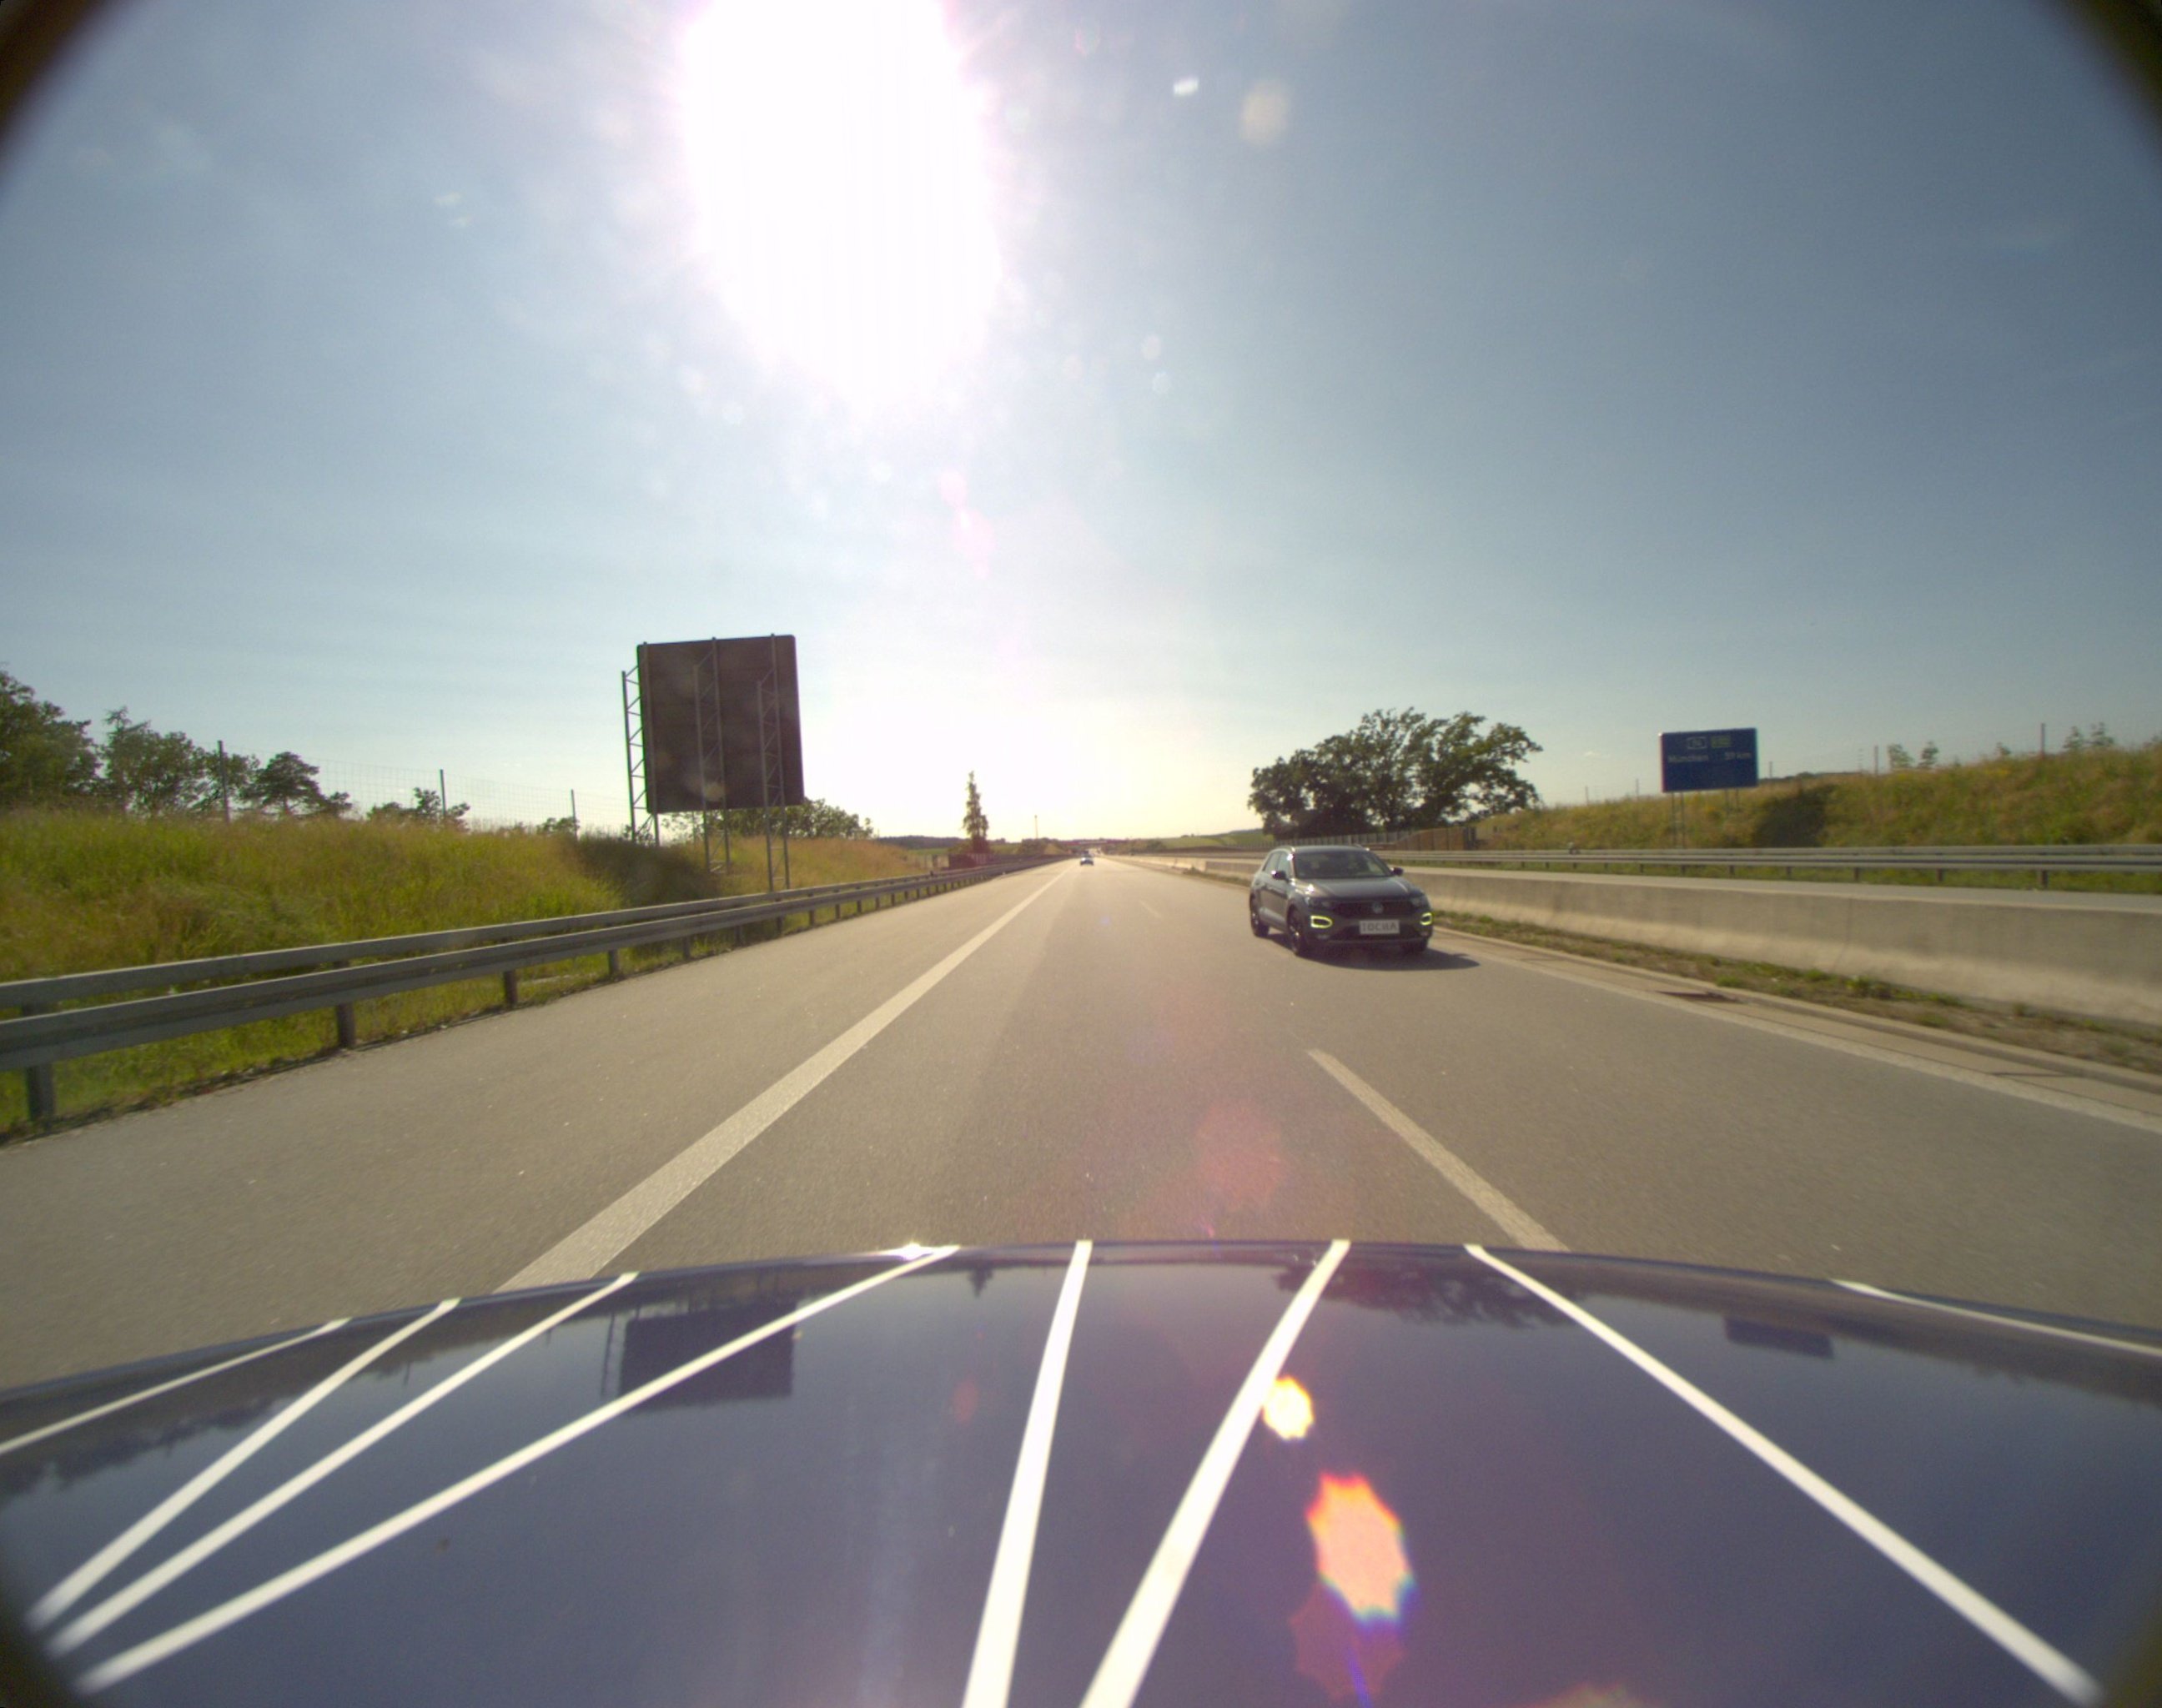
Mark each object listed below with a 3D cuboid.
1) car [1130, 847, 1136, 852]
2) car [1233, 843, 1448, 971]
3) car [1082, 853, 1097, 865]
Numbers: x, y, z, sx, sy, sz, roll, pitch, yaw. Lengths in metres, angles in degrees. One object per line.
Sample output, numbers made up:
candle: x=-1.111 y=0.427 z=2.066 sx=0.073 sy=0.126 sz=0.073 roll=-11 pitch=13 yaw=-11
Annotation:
car: x=16.543 y=-1.478 z=241.130 sx=1.583 sy=1.449 sz=4.449 roll=-2 pitch=0 yaw=0
car: x=3.800 y=0.658 z=12.144 sx=1.776 sy=1.560 sz=4.988 roll=-2 pitch=0 yaw=1
car: x=1.139 y=0.647 z=104.691 sx=1.909 sy=1.449 sz=4.376 roll=-2 pitch=1 yaw=2
